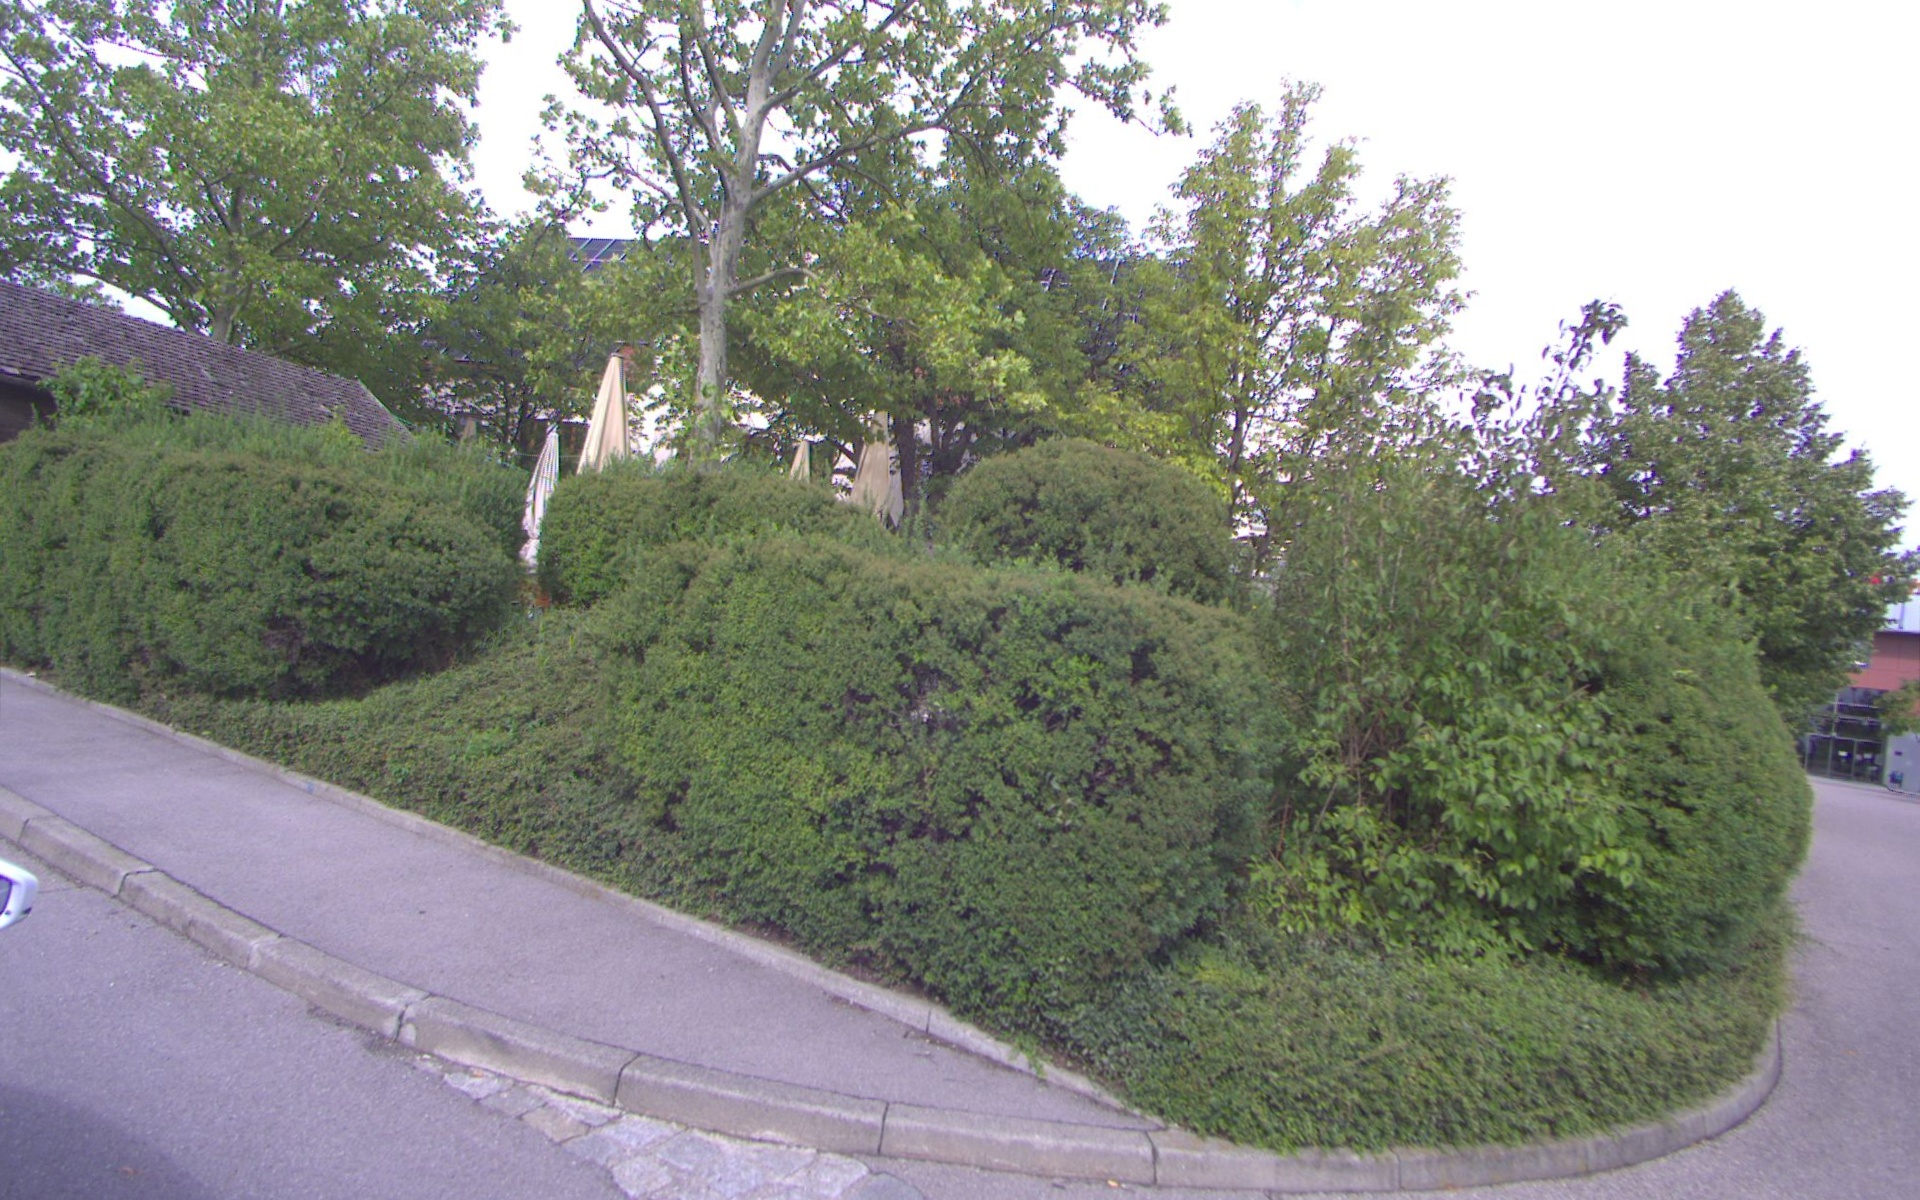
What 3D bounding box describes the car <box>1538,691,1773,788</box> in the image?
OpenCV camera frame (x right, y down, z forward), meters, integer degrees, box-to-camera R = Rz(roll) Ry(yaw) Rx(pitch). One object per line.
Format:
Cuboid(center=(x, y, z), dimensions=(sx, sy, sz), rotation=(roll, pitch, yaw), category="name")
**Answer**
Cuboid(center=(18.893, 3.752, 27.532), dimensions=(5.003, 1.731, 1.745), rotation=(6, -2, 38), category="car")
